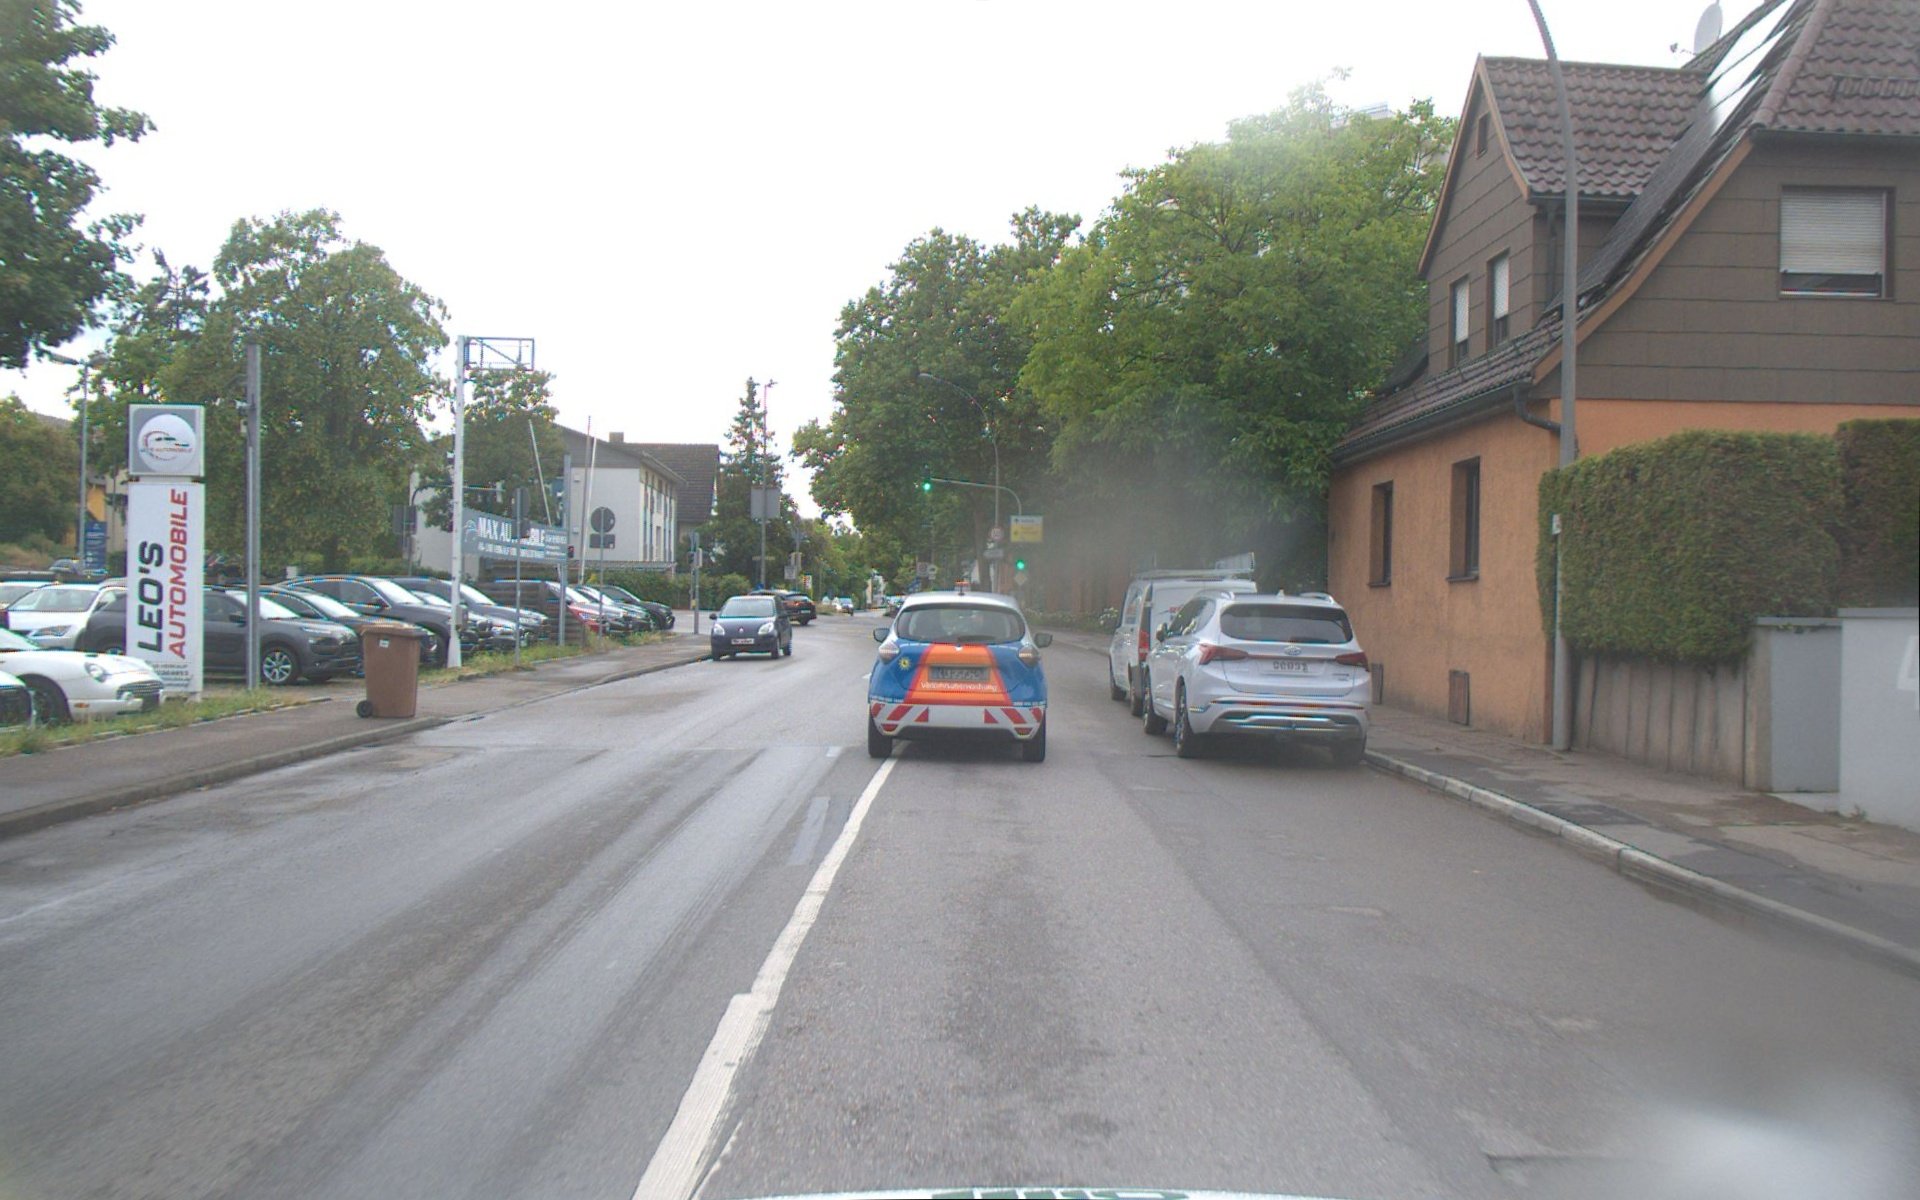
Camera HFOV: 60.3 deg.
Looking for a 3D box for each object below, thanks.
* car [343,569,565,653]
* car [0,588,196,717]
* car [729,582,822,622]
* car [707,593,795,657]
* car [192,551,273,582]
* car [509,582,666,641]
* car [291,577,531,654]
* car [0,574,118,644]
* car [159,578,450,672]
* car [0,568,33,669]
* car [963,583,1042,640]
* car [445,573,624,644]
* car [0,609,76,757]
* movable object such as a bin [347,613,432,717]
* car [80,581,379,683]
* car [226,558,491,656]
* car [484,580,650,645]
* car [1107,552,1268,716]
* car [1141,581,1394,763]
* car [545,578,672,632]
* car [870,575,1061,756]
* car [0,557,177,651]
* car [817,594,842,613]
[{"bbox_3d":[-11.094,0.230,36.516,4.258,1.720,1.959,1,0,0],"label":"car"},{"bbox_3d":[-11.226,0.548,18.656,4.361,1.355,1.771,1,0,-1],"label":"car"},{"bbox_3d":[-7.621,0.071,68.149,1.785,1.453,3.938,1,2,-43],"label":"car"},{"bbox_3d":[-5.008,0.562,40.034,1.593,1.458,3.684,1,0,1],"label":"car"},{"bbox_3d":[-43.649,-1.998,99.255,1.961,1.753,3.984,3,1,36],"label":"car"},{"bbox_3d":[-10.384,0.305,46.244,3.904,1.466,1.804,2,1,1],"label":"car"},{"bbox_3d":[-11.229,0.307,34.058,4.258,1.457,1.959,1,0,0],"label":"car"},{"bbox_3d":[-19.890,0.170,35.456,1.657,1.422,4.000,0,0,0],"label":"car"},{"bbox_3d":[-11.351,0.415,28.849,4.258,1.489,1.941,1,0,0],"label":"car"},{"bbox_3d":[-16.592,0.245,25.447,3.903,1.525,1.938,1,0,18],"label":"car"},{"bbox_3d":[1.352,0.324,51.271,1.951,1.601,4.004,2,1,8],"label":"car"},{"bbox_3d":[-10.510,0.193,41.015,3.904,1.570,1.804,2,1,1],"label":"car"},{"bbox_3d":[-11.320,0.778,16.179,4.287,1.398,1.889,1,0,-1],"label":"car"},{"bbox_3d":[-6.597,0.740,19.151,0.693,1.149,0.735,1,0,-1],"label":"movable object such as a bin"},{"bbox_3d":[-11.554,0.484,26.336,3.905,1.489,1.839,1,0,0],"label":"car"},{"bbox_3d":[-11.368,0.124,31.496,4.258,1.721,2.058,1,0,0],"label":"car"},{"bbox_3d":[-10.406,0.310,43.968,3.904,1.570,1.804,2,1,1],"label":"car"},{"bbox_3d":[3.172,0.393,23.957,1.741,2.064,4.755,2,1,2],"label":"car"},{"bbox_3d":[3.171,0.675,17.922,1.828,1.694,4.319,1,0,-1],"label":"car"},{"bbox_3d":[-11.258,0.155,53.176,3.875,1.557,1.618,2,1,-11],"label":"car"},{"bbox_3d":[0.019,0.562,16.831,1.710,1.608,4.000,0,1,-1],"label":"car"},{"bbox_3d":[-15.696,0.050,29.404,1.657,1.557,4.000,0,0,0],"label":"car"},{"bbox_3d":[-10.653,0.278,135.066,1.903,1.477,4.296,3,-1,-3],"label":"car"}]
